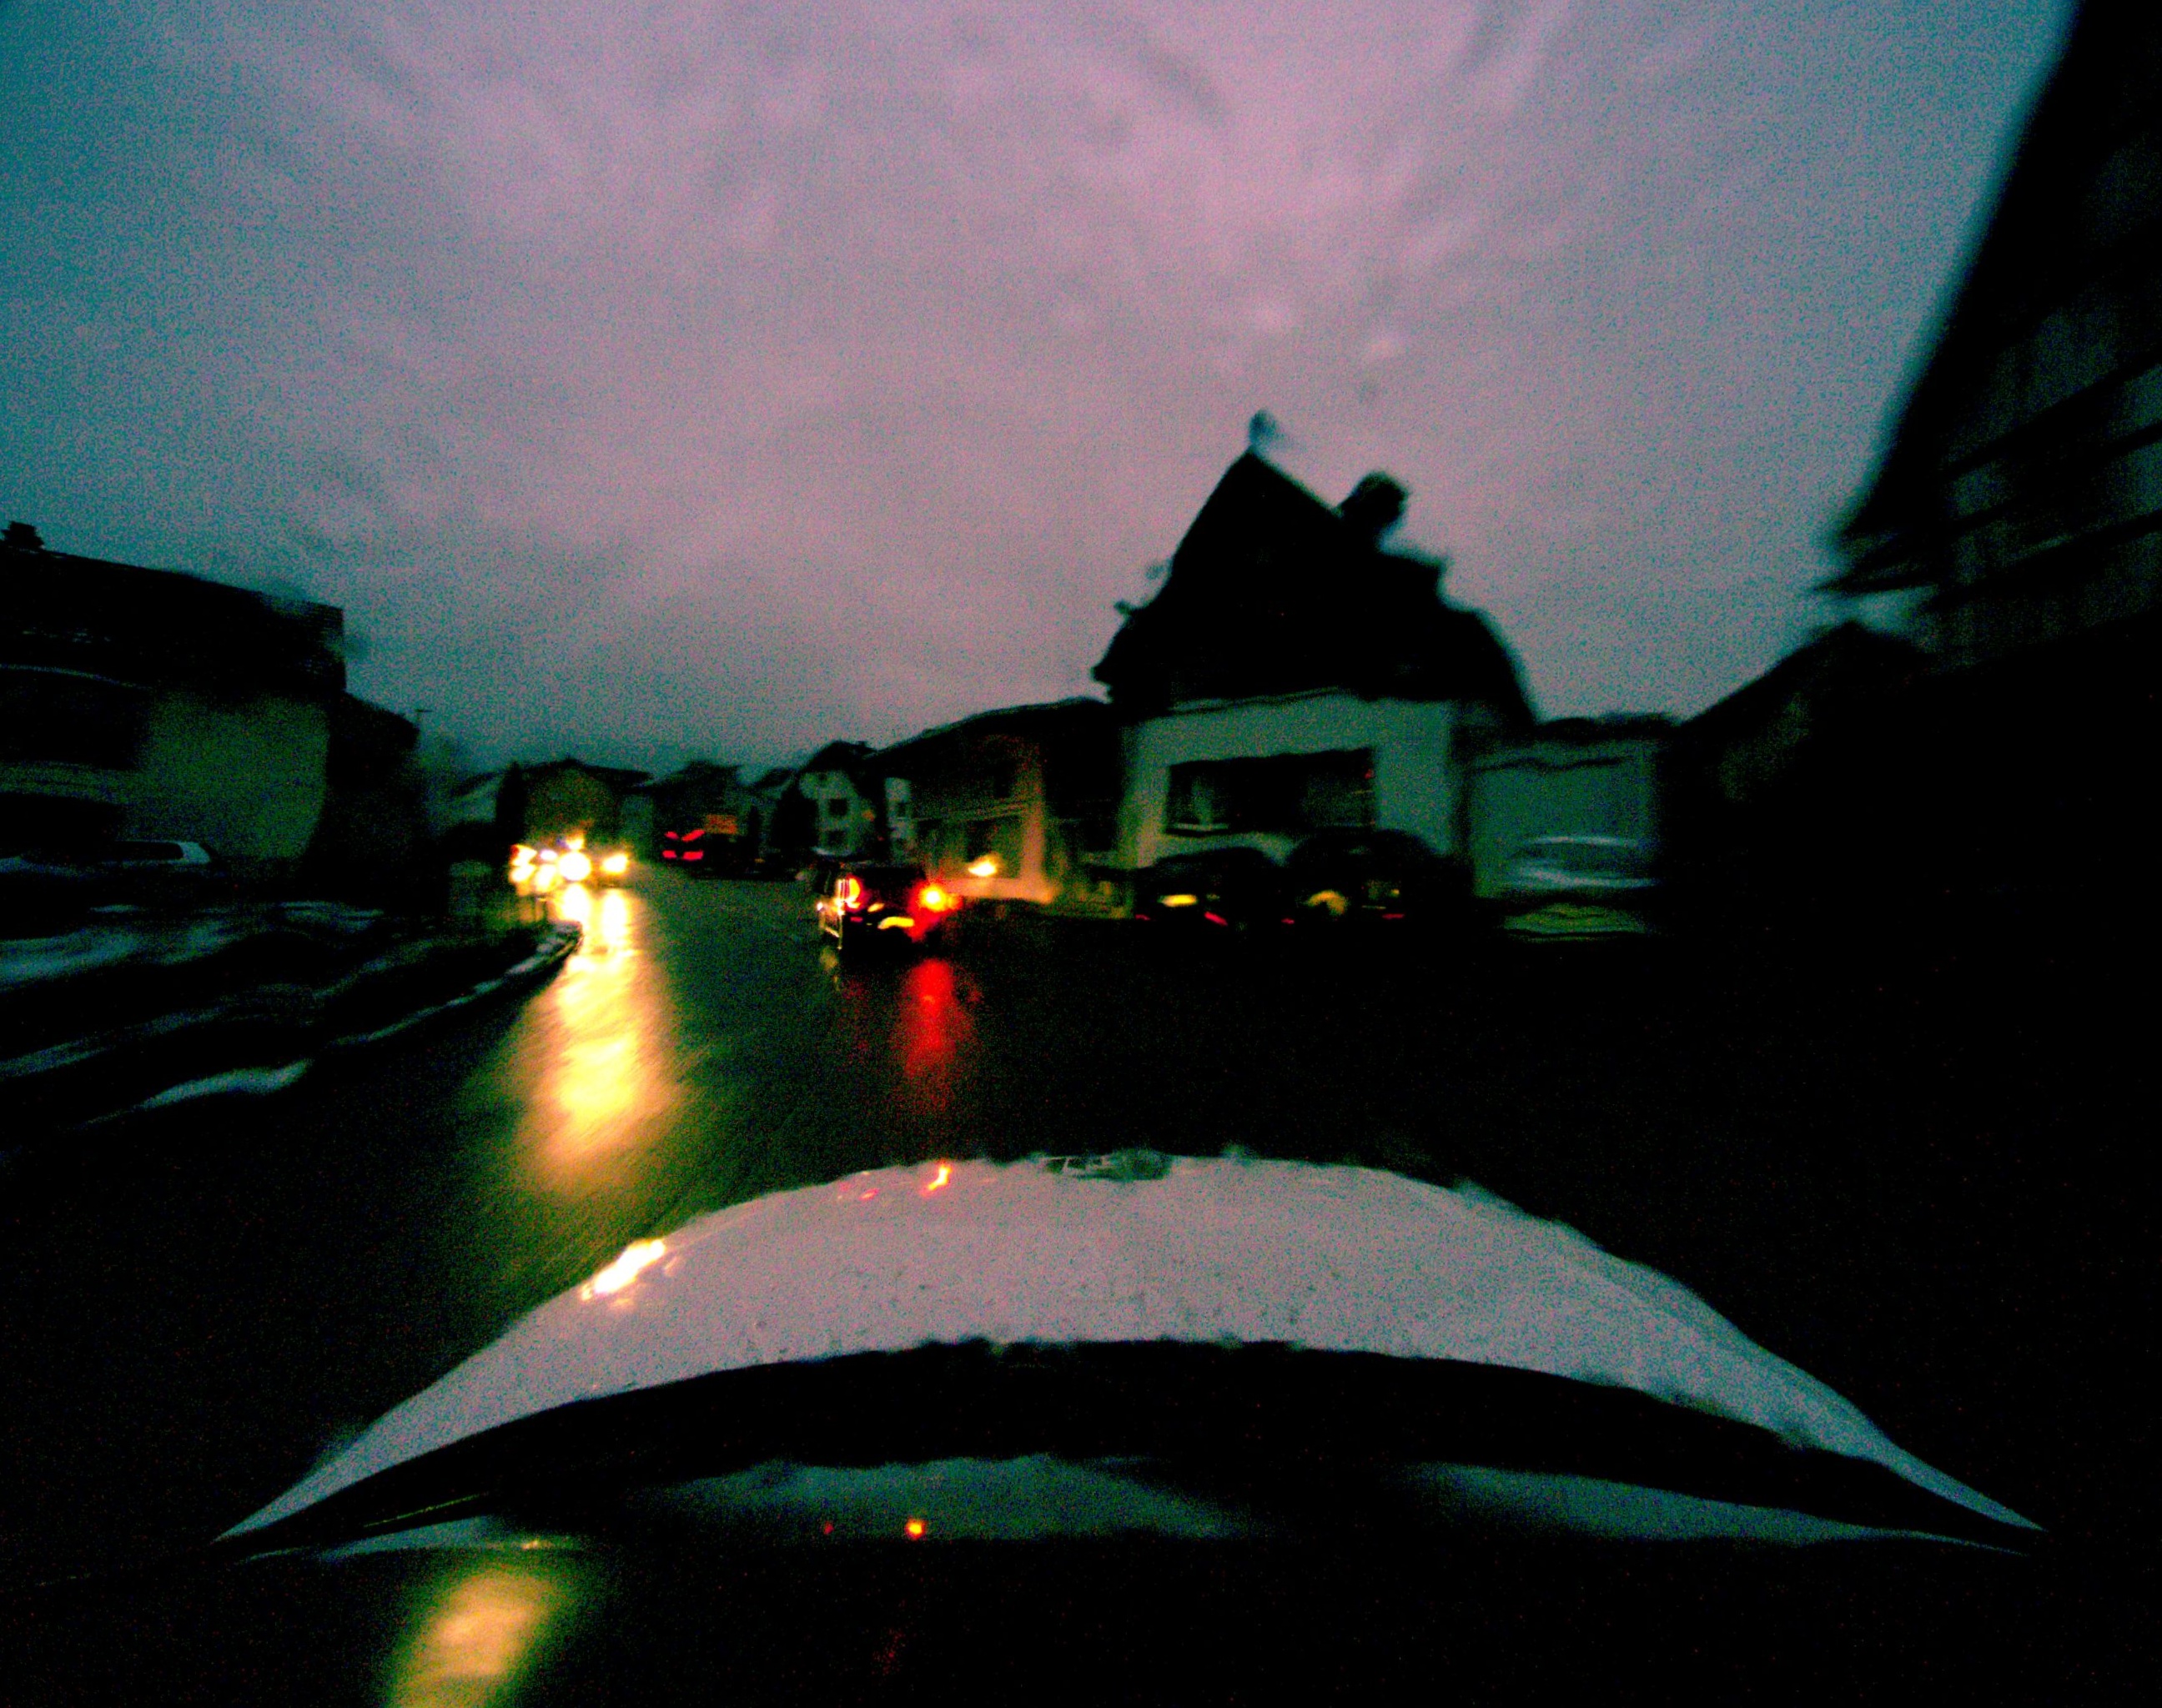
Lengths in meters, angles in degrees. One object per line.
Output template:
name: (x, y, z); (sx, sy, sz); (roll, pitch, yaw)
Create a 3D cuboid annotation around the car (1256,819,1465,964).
car: (4.383, 0.411, 12.239); (1.831, 1.660, 4.506); (-3, 2, 33)

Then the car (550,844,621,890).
car: (-19.859, 0.468, 32.563); (1.892, 1.612, 4.550); (0, 1, -38)

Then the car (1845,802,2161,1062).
car: (7.929, 0.393, 6.535); (1.577, 1.515, 4.009); (-3, 2, 28)

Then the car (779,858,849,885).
car: (-18.042, 1.153, 54.948); (4.494, 1.628, 1.826); (0, 1, 27)

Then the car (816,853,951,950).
car: (-3.619, 0.744, 14.497); (1.554, 1.466, 3.667); (1, 0, -26)

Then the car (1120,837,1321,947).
car: (2.540, 0.558, 14.026); (1.864, 1.450, 3.919); (-3, 2, 35)

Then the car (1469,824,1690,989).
car: (5.978, 0.455, 9.665); (1.792, 1.420, 4.065); (-3, 2, 35)

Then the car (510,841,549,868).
car: (-36.915, 0.016, 54.454); (1.927, 1.653, 3.956); (2, 0, -37)

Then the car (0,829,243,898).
car: (-22.337, 0.236, 18.864); (1.798, 1.462, 4.023); (1, -1, 44)
